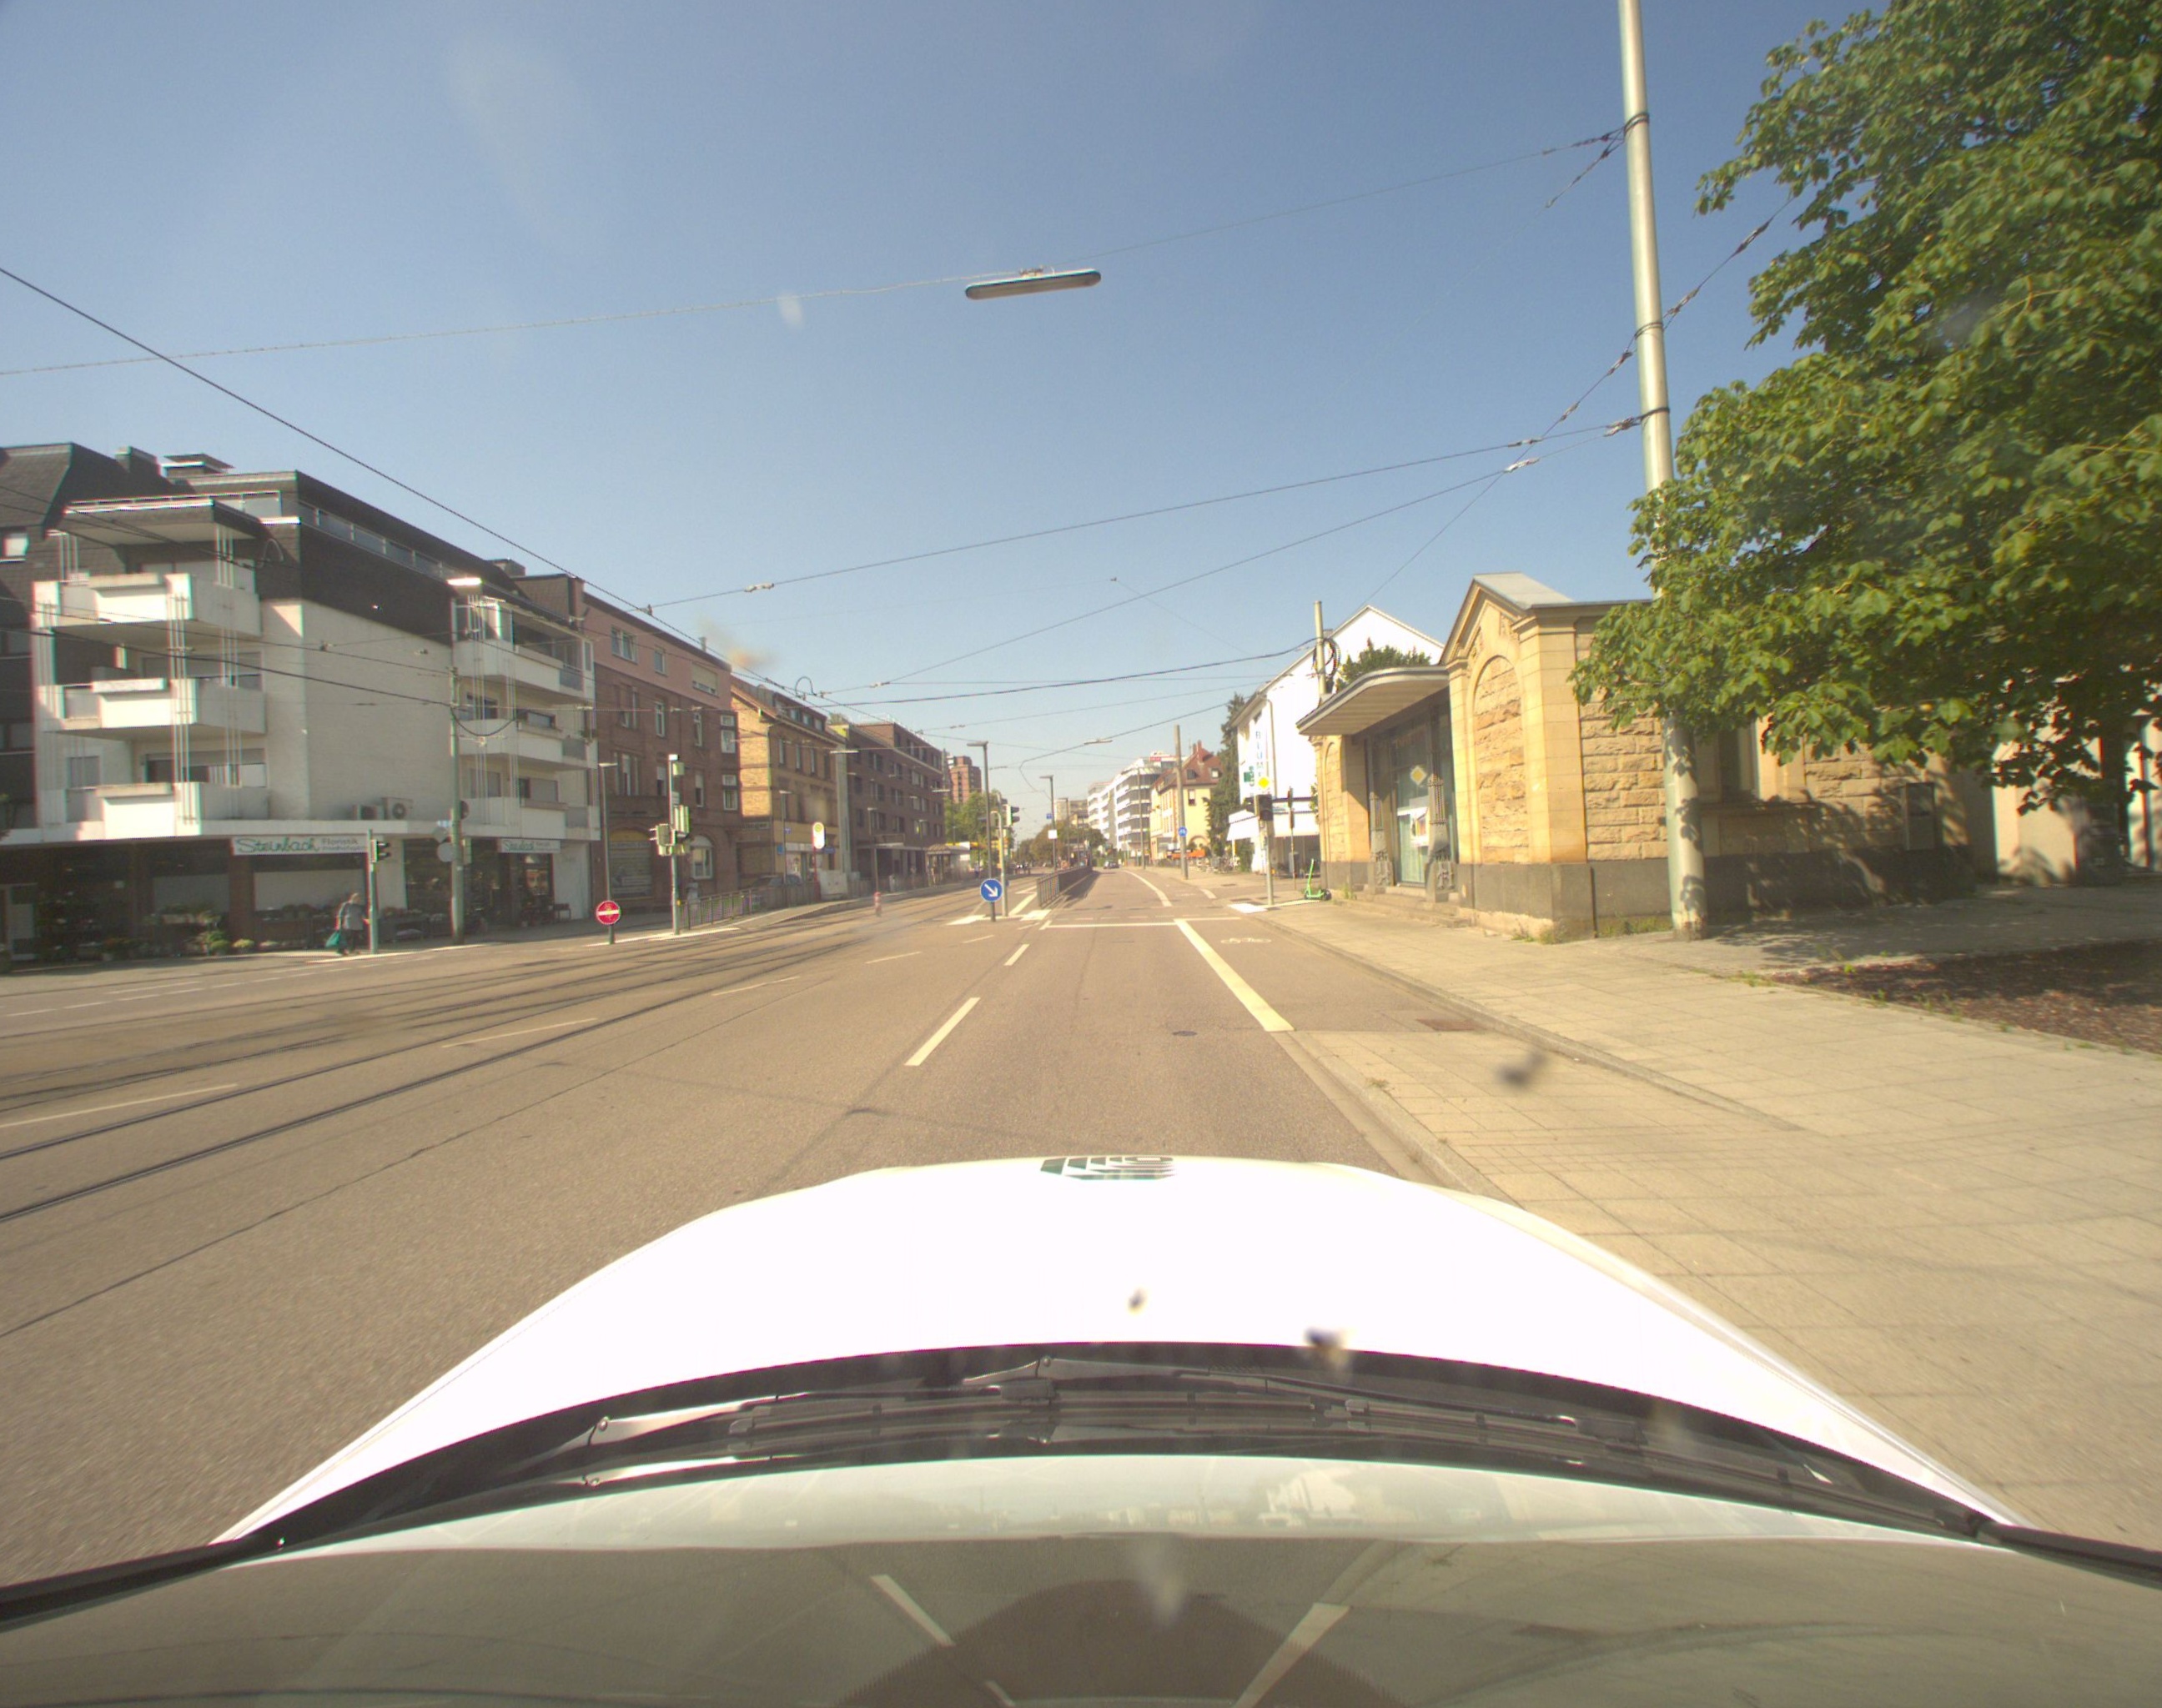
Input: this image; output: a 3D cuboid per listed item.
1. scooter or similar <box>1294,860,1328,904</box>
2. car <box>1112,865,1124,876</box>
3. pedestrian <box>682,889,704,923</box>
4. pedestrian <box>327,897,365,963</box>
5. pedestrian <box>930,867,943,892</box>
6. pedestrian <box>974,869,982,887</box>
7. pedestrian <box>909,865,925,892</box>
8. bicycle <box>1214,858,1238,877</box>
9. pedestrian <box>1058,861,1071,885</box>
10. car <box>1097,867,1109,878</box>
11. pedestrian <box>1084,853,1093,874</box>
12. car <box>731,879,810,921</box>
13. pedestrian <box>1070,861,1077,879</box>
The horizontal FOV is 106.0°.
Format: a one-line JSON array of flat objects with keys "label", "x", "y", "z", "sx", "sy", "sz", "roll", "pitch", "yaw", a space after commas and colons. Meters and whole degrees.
[{"label": "scooter or similar", "x": 6.392, "y": 0.761, "z": 22.682, "sx": 0.521, "sy": 1.133, "sz": 1.512, "roll": -5, "pitch": -1, "yaw": 3}, {"label": "car", "x": 6.514, "y": 2.929, "z": 143.631, "sx": 2.003, "sy": 1.859, "sz": 4.003, "roll": -5, "pitch": -1, "yaw": 3}, {"label": "pedestrian", "x": -18.599, "y": 2.492, "z": 39.056, "sx": 0.479, "sy": 1.560, "sz": 0.890, "roll": -2, "pitch": -2, "yaw": 13}, {"label": "pedestrian", "x": -20.356, "y": 2.094, "z": 22.569, "sx": 0.602, "sy": 1.745, "sz": 0.560, "roll": -4, "pitch": -2, "yaw": -31}, {"label": "pedestrian", "x": -10.539, "y": 1.842, "z": 59.436, "sx": 0.705, "sy": 1.747, "sz": 0.799, "roll": -5, "pitch": -1, "yaw": 2}, {"label": "pedestrian", "x": -9.115, "y": 2.116, "z": 71.847, "sx": 0.531, "sy": 1.530, "sz": 0.700, "roll": -4, "pitch": -1, "yaw": -4}, {"label": "pedestrian", "x": -10.655, "y": 1.588, "z": 52.853, "sx": 0.705, "sy": 1.723, "sz": 0.799, "roll": -5, "pitch": -1, "yaw": 2}, {"label": "bicycle", "x": 9.478, "y": 0.873, "z": 53.189, "sx": 0.730, "sy": 1.132, "sz": 2.834, "roll": -6, "pitch": -1, "yaw": -5}, {"label": "pedestrian", "x": -1.150, "y": 1.347, "z": 57.877, "sx": 0.717, "sy": 1.703, "sz": 0.885, "roll": -5, "pitch": -1, "yaw": 3}, {"label": "car", "x": 4.055, "y": 3.434, "z": 149.802, "sx": 2.003, "sy": 1.859, "sz": 4.003, "roll": -5, "pitch": -1, "yaw": 3}, {"label": "pedestrian", "x": 0.627, "y": 0.792, "z": 68.082, "sx": 0.534, "sy": 1.703, "sz": 0.582, "roll": -5, "pitch": -1, "yaw": -1}, {"label": "car", "x": -14.504, "y": 2.109, "z": 38.300, "sx": 1.806, "sy": 1.654, "sz": 4.251, "roll": -4, "pitch": -1, "yaw": 3}, {"label": "pedestrian", "x": -0.770, "y": 1.587, "z": 80.624, "sx": 0.534, "sy": 1.703, "sz": 0.582, "roll": -5, "pitch": -1, "yaw": -1}]
